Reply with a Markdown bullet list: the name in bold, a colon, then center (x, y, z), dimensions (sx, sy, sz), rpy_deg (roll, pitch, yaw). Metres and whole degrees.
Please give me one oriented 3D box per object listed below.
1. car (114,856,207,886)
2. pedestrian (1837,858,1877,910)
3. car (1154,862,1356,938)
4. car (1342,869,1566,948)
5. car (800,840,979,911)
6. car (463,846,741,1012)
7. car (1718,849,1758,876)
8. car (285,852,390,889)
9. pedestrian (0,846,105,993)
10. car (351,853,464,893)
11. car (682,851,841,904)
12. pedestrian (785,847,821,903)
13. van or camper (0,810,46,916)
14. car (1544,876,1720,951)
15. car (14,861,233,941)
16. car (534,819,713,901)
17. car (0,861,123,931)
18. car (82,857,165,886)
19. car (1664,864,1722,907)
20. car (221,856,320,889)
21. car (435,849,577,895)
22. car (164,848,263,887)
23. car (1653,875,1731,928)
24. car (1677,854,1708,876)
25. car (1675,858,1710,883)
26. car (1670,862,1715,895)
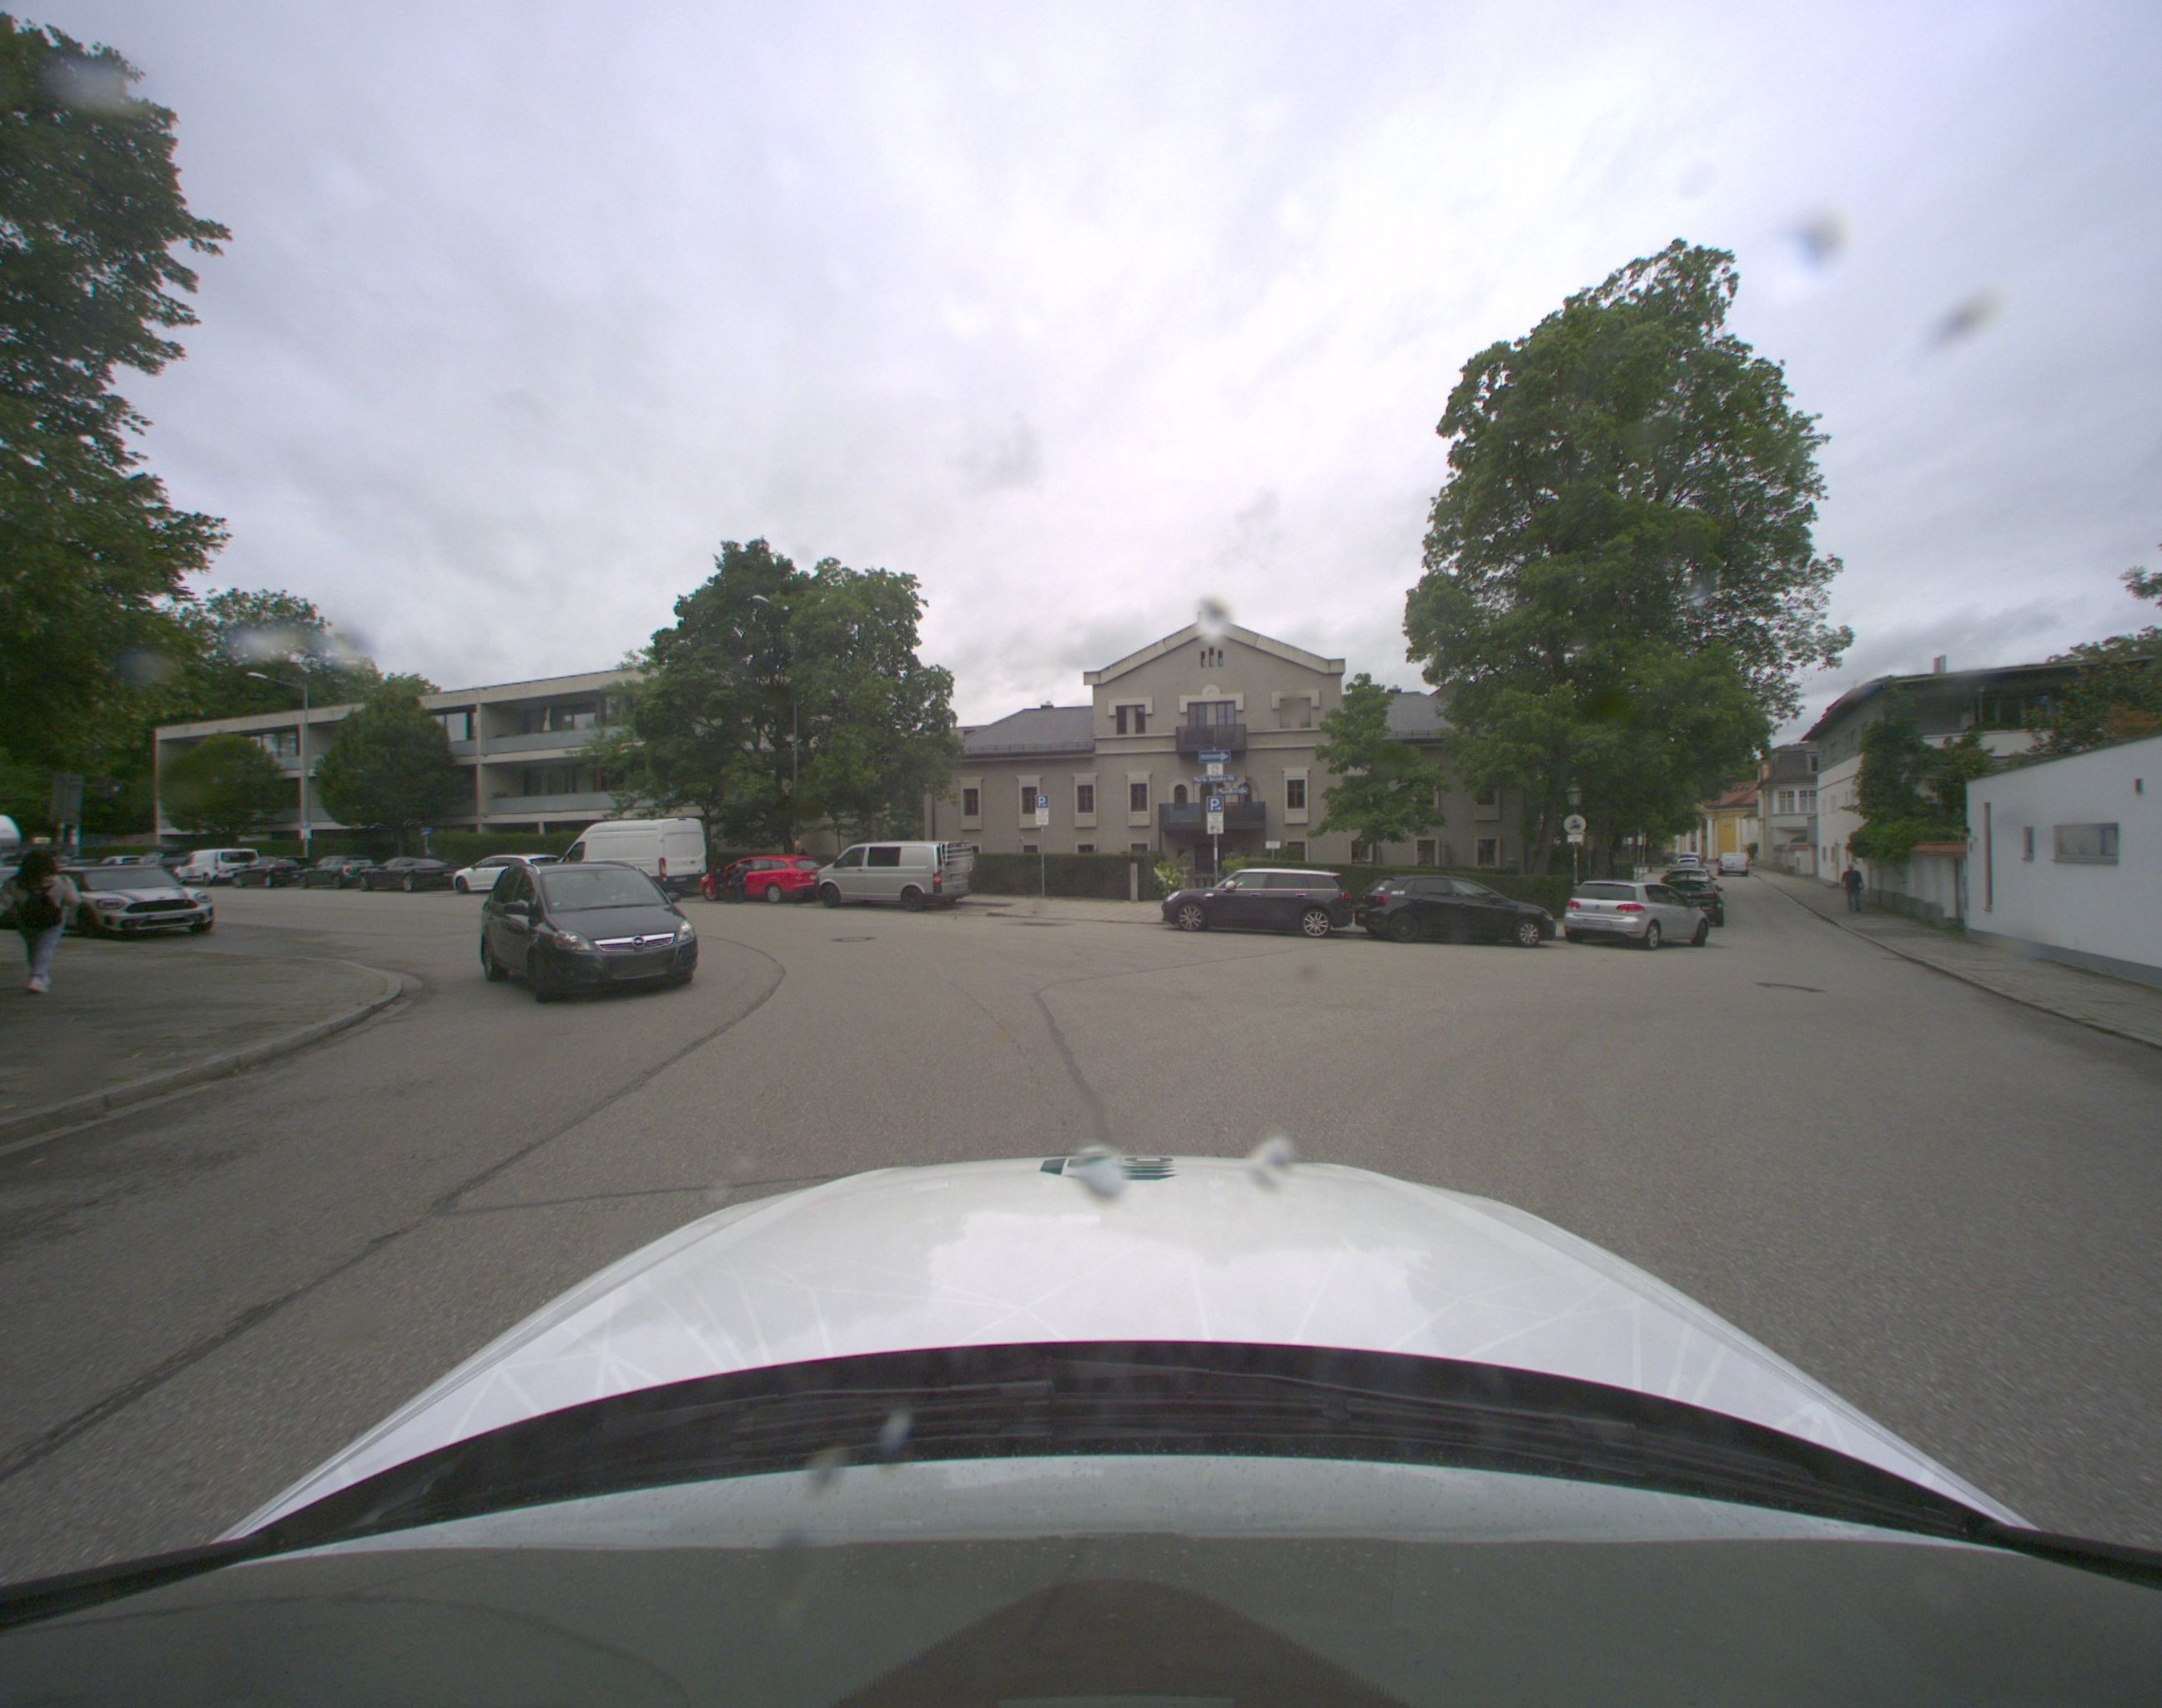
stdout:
- **car**: center (-47.808, 0.854, 42.289), dimensions (4.542, 1.480, 1.763), rpy_deg (0, 0, 22)
- **pedestrian**: center (29.367, 1.112, 30.841), dimensions (0.939, 1.932, 1.239), rpy_deg (0, -1, 36)
- **car**: center (3.933, 0.992, 18.403), dimensions (4.222, 1.447, 1.905), rpy_deg (1, -2, 16)
- **car**: center (7.951, 1.140, 17.662), dimensions (3.986, 1.447, 1.898), rpy_deg (2, -2, 2)
- **car**: center (-5.770, 0.574, 24.519), dimensions (5.010, 1.904, 1.952), rpy_deg (0, 3, 23)
- **car**: center (-6.452, 0.835, 10.753), dimensions (4.280, 1.693, 2.012), rpy_deg (-2, 0, 44)
- **car**: center (50.824, 0.671, 63.059), dimensions (1.974, 2.014, 4.204), rpy_deg (0, -1, 33)
- **car**: center (-32.893, 0.698, 36.032), dimensions (4.154, 1.529, 1.742), rpy_deg (0, 2, 22)
- **pedestrian**: center (-11.974, 0.732, 9.405), dimensions (0.730, 1.604, 0.659), rpy_deg (0, -3, 27)
- **car**: center (-27.989, 0.740, 33.812), dimensions (5.145, 1.506, 1.292), rpy_deg (0, 3, 22)
- **car**: center (-10.471, 0.726, 26.679), dimensions (4.781, 1.506, 1.887), rpy_deg (0, 3, 21)
- **pedestrian**: center (-9.569, 0.710, 28.045), dimensions (0.854, 1.904, 0.803), rpy_deg (0, -1, 29)
- **van or camper**: center (-33.405, 0.257, 23.568), dimensions (7.123, 2.940, 2.477), rpy_deg (0, 2, 24)
- **car**: center (12.701, 1.311, 18.716), dimensions (4.029, 1.446, 1.921), rpy_deg (2, 1, -34)
- **car**: center (-21.801, 0.992, 18.550), dimensions (4.476, 1.534, 1.953), rpy_deg (0, 3, 24)
- **car**: center (-16.225, 0.140, 28.868), dimensions (6.016, 2.686, 2.098), rpy_deg (0, 2, 21)
- **car**: center (-27.142, 0.999, 20.816), dimensions (4.764, 1.508, 1.953), rpy_deg (0, 3, 22)
- **car**: center (-51.950, 0.928, 44.198), dimensions (3.842, 1.480, 1.763), rpy_deg (0, 0, 22)
- **car**: center (26.453, 1.314, 35.243), dimensions (1.916, 1.662, 4.040), rpy_deg (1, 1, 37)
- **car**: center (-37.793, 0.823, 37.993), dimensions (4.191, 1.464, 1.763), rpy_deg (0, 1, 22)
- **car**: center (-22.279, 0.663, 31.566), dimensions (4.944, 1.569, 1.886), rpy_deg (1, 3, 19)
- **car**: center (-43.071, 0.663, 40.420), dimensions (4.838, 1.861, 1.838), rpy_deg (0, -1, 24)
- **car**: center (19.947, 1.474, 26.638), dimensions (1.916, 1.446, 4.040), rpy_deg (1, 1, 37)
- **car**: center (48.962, 0.859, 65.201), dimensions (1.916, 1.662, 4.040), rpy_deg (1, 1, 37)
- **car**: center (43.260, 1.121, 57.625), dimensions (1.916, 1.662, 4.040), rpy_deg (1, 1, 37)
- **car**: center (34.175, 1.338, 45.555), dimensions (1.916, 1.662, 4.040), rpy_deg (1, 1, 37)
